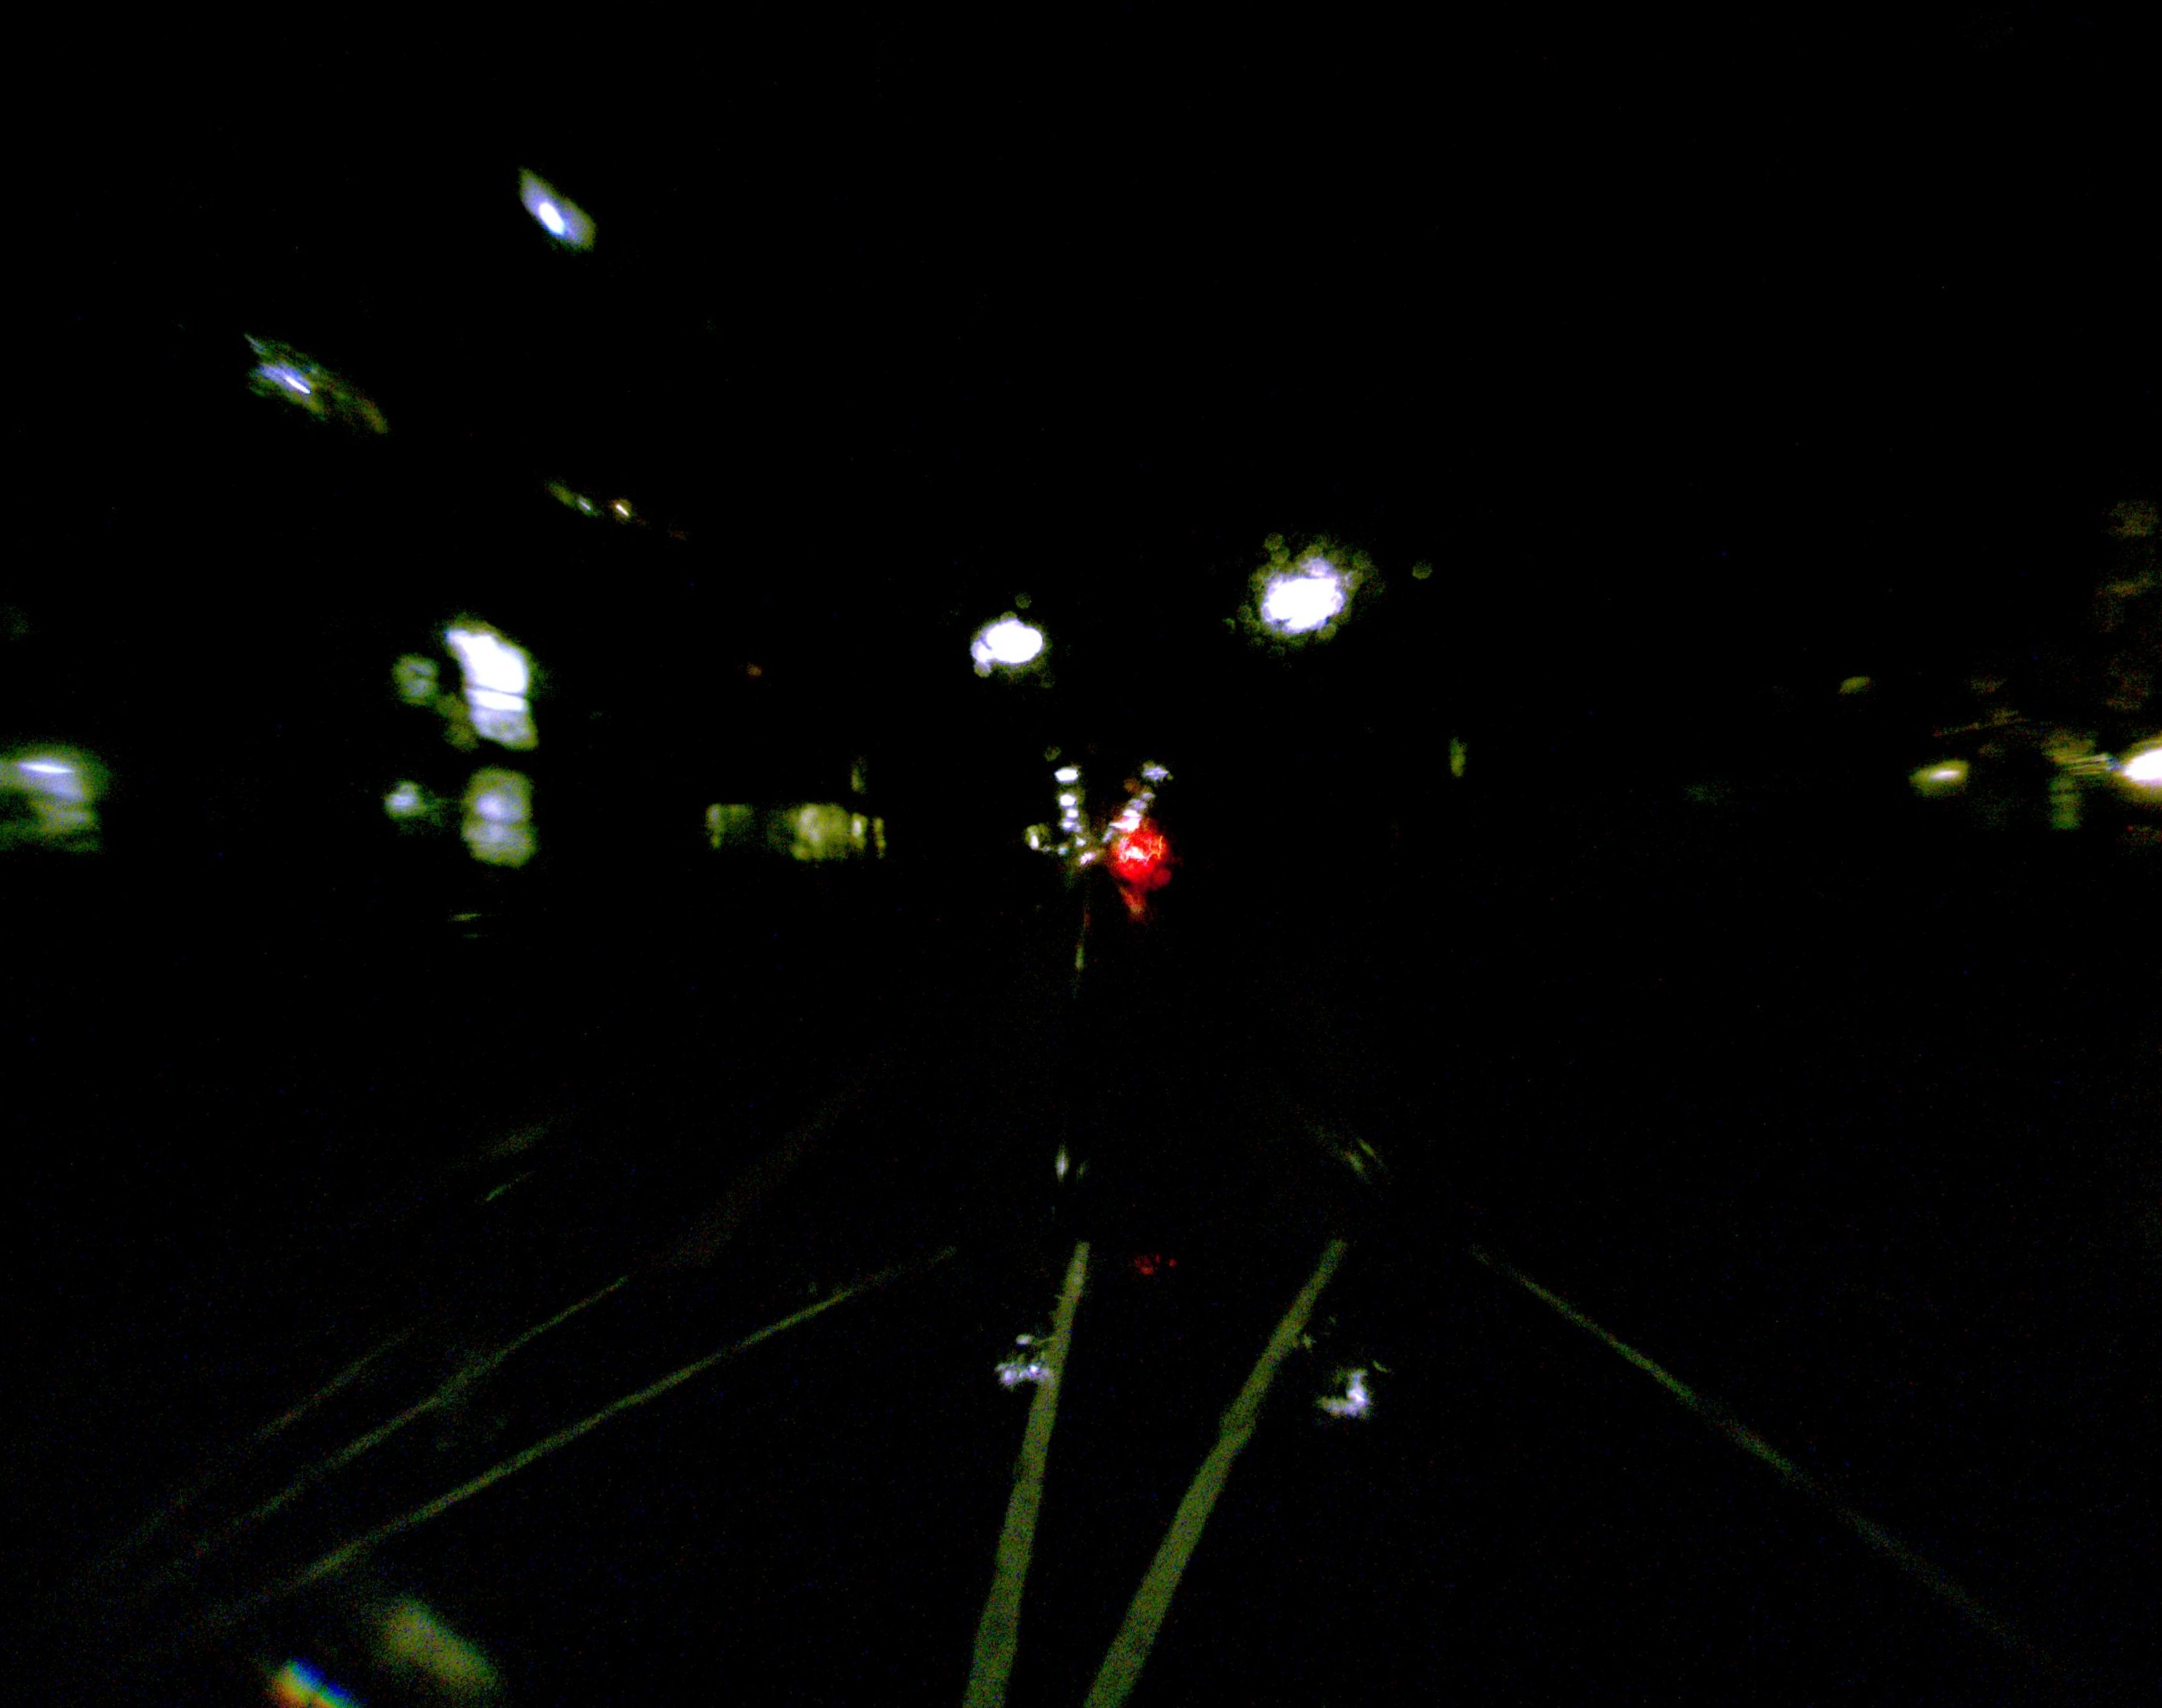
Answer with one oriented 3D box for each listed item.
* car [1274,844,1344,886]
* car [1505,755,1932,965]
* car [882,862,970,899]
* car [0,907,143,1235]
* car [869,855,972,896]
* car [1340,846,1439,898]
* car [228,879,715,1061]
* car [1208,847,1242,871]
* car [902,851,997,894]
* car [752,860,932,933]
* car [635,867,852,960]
[{"bbox_3d":[9.810,0.425,32.920,1.846,1.573,3.663,-4,1,0],"label":"car"},{"bbox_3d":[9.489,0.029,12.169,2.248,2.494,5.258,-4,1,-2],"label":"car"},{"bbox_3d":[-5.949,1.003,29.327,1.503,1.216,2.950,-1,2,44],"label":"car"},{"bbox_3d":[-6.819,1.114,2.722,1.658,1.473,4.194,-3,0,43],"label":"car"},{"bbox_3d":[-6.830,0.873,32.324,3.963,1.499,1.617,-3,1,-26],"label":"car"},{"bbox_3d":[9.769,0.527,24.307,1.720,1.399,3.389,-4,1,0],"label":"car"},{"bbox_3d":[-6.884,1.147,9.078,4.170,1.437,1.651,-3,1,-42],"label":"car"},{"bbox_3d":[10.164,0.302,53.904,1.693,1.566,3.917,-2,1,1],"label":"car"},{"bbox_3d":[-6.086,0.799,35.358,3.964,1.761,1.666,-3,2,-36],"label":"car"},{"bbox_3d":[-6.129,1.016,19.767,4.021,1.519,1.796,-3,2,-41],"label":"car"},{"bbox_3d":[-6.911,1.125,15.781,3.675,1.519,1.712,-3,2,-45],"label":"car"}]
